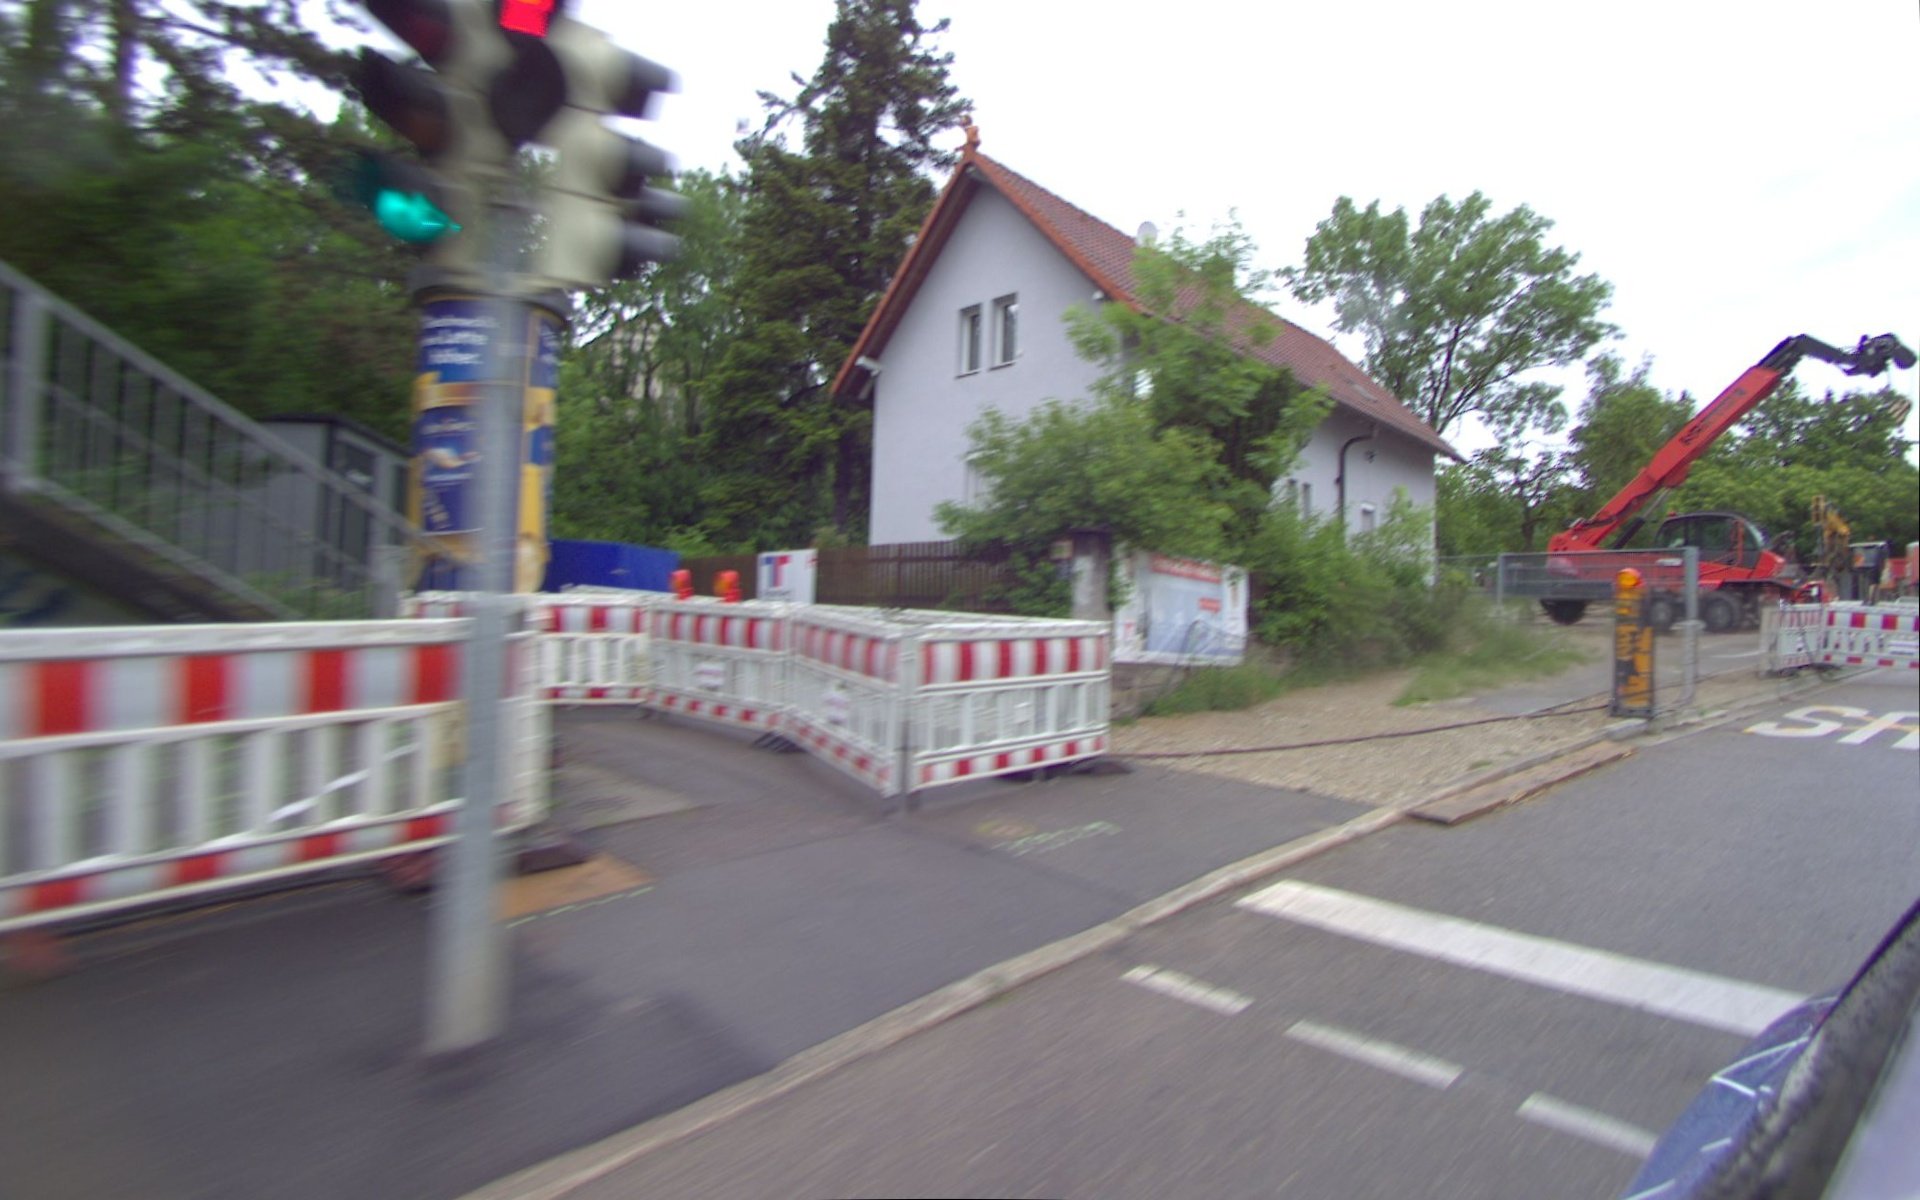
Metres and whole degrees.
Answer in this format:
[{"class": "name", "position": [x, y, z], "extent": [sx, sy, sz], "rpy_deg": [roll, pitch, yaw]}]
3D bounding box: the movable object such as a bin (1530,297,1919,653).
[{"class": "movable object such as a bin", "position": [17.166, -2.378, 22.706], "extent": [2.994, 6.774, 6.957], "rpy_deg": [-1, 0, -42]}]

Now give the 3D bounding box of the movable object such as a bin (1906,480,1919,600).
[{"class": "movable object such as a bin", "position": [40.057, -2.288, 37.028], "extent": [3.022, 4.978, 10.777], "rpy_deg": [-3, 2, 15]}]

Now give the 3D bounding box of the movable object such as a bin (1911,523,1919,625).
[{"class": "movable object such as a bin", "position": [34.127, -0.903, 33.254], "extent": [3.983, 3.247, 2.369], "rpy_deg": [-2, -6, 42]}]

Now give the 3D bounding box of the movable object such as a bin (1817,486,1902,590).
[{"class": "movable object such as a bin", "position": [36.601, -2.446, 41.140], "extent": [4.537, 3.938, 1.996], "rpy_deg": [-1, 0, -42]}]
